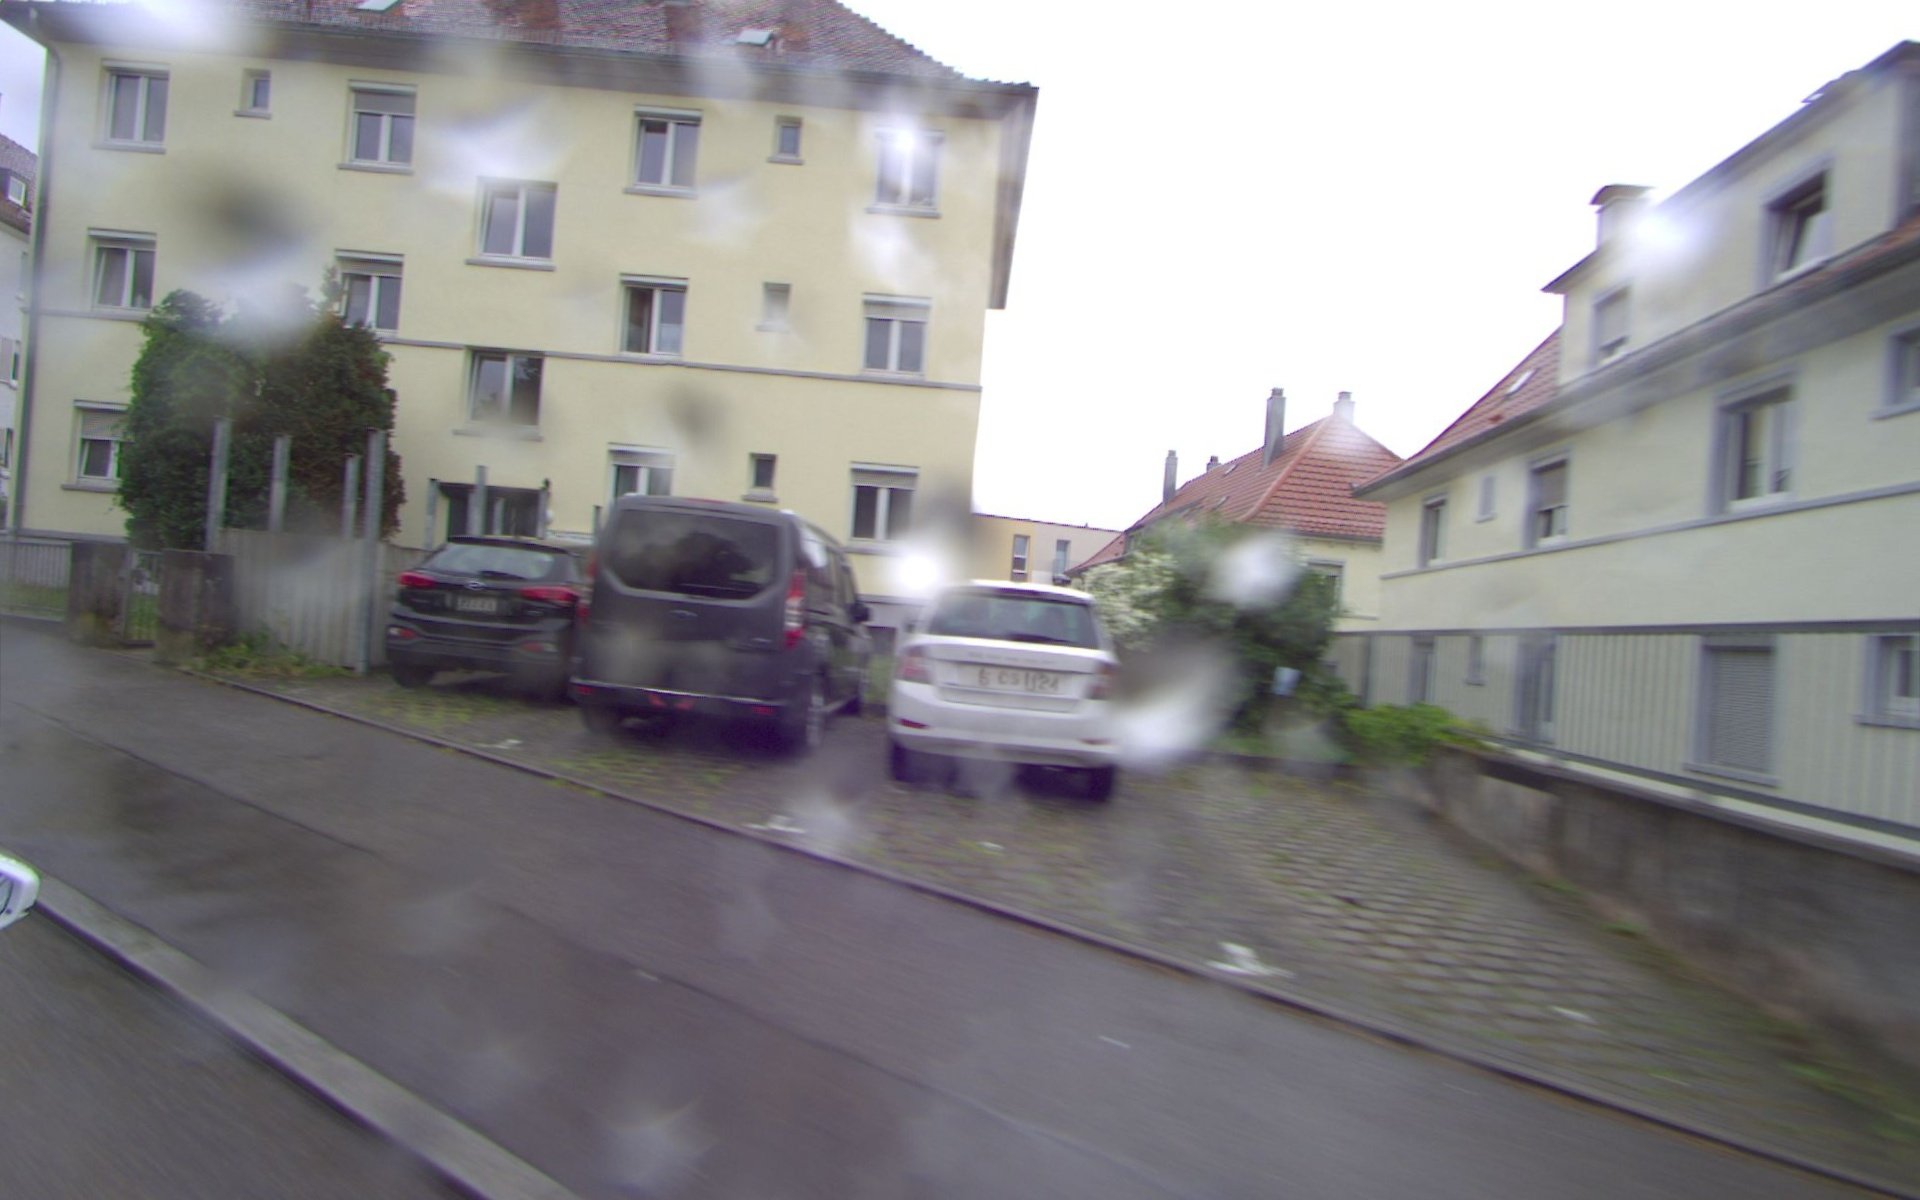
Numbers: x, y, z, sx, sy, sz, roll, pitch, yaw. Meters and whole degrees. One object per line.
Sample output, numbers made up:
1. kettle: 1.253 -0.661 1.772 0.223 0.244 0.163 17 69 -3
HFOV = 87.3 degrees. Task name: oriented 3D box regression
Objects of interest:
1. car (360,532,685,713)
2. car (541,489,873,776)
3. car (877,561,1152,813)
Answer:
1. car: -4.097 0.173 10.068 1.656 1.356 3.523 5 1 -1
2. car: -1.892 0.210 8.787 1.737 1.805 3.933 5 1 1
3. car: 0.423 0.552 8.247 1.656 1.494 3.524 5 1 3
